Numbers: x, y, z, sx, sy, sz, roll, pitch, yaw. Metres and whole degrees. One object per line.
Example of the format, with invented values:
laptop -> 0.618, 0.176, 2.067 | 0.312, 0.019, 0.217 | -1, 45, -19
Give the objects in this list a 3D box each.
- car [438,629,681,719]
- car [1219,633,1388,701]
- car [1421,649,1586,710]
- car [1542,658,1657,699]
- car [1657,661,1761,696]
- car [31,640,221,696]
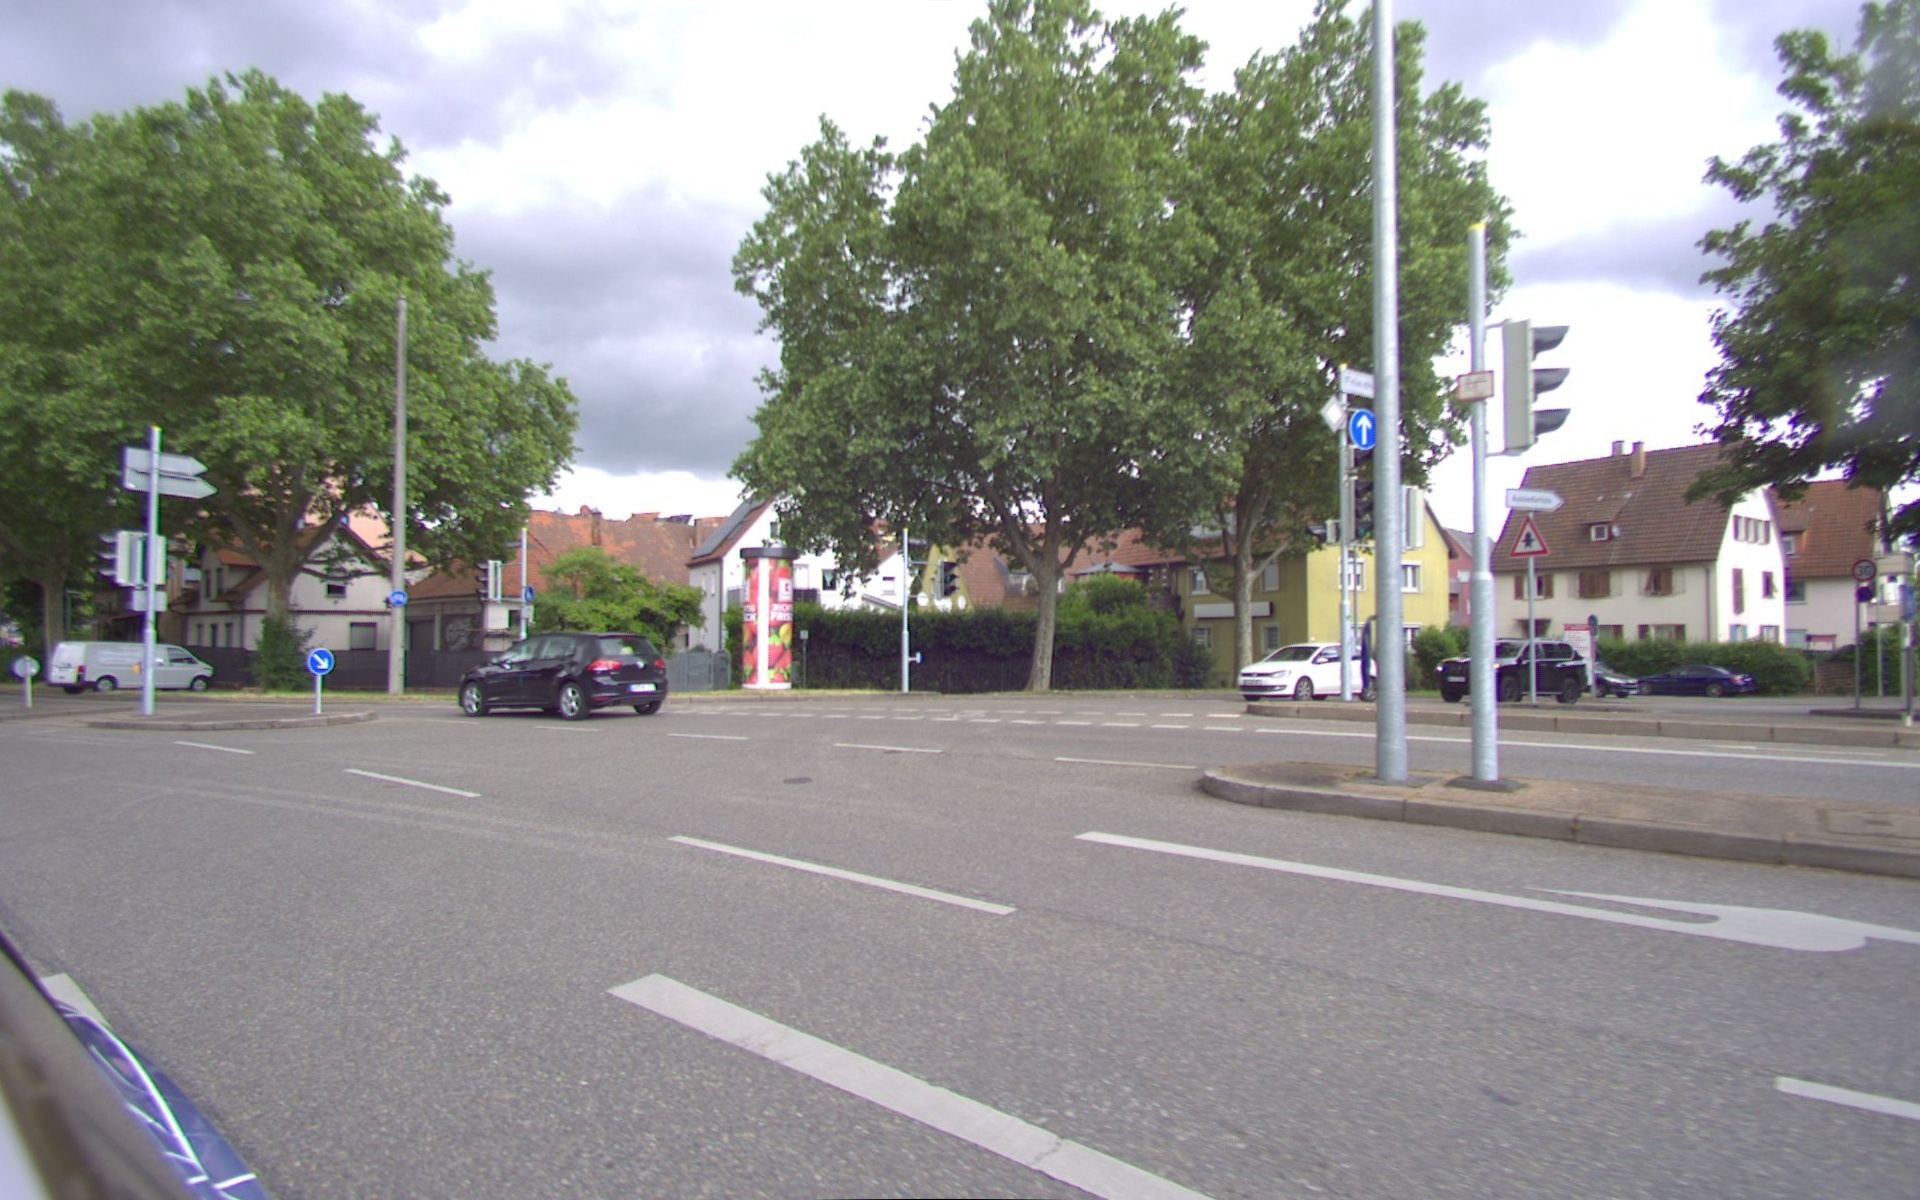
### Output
car -> -6.962, 1.227, 17.482 | 4.295, 1.376, 1.665 | -2, -2, 31
car -> 8.279, 1.556, 24.326 | 3.789, 1.491, 1.831 | 1, -3, -32
car -> 15.056, 2.157, 28.047 | 4.196, 1.557, 2.006 | 2, -3, -28
car -> 27.202, 3.299, 43.158 | 1.733, 1.576, 3.744 | 1, -3, -29
car -> 34.015, 3.531, 46.026 | 1.521, 1.420, 3.450 | 1, -3, -32
car -> -31.372, 2.598, 38.304 | 2.066, 1.946, 5.213 | -1, -4, 17
